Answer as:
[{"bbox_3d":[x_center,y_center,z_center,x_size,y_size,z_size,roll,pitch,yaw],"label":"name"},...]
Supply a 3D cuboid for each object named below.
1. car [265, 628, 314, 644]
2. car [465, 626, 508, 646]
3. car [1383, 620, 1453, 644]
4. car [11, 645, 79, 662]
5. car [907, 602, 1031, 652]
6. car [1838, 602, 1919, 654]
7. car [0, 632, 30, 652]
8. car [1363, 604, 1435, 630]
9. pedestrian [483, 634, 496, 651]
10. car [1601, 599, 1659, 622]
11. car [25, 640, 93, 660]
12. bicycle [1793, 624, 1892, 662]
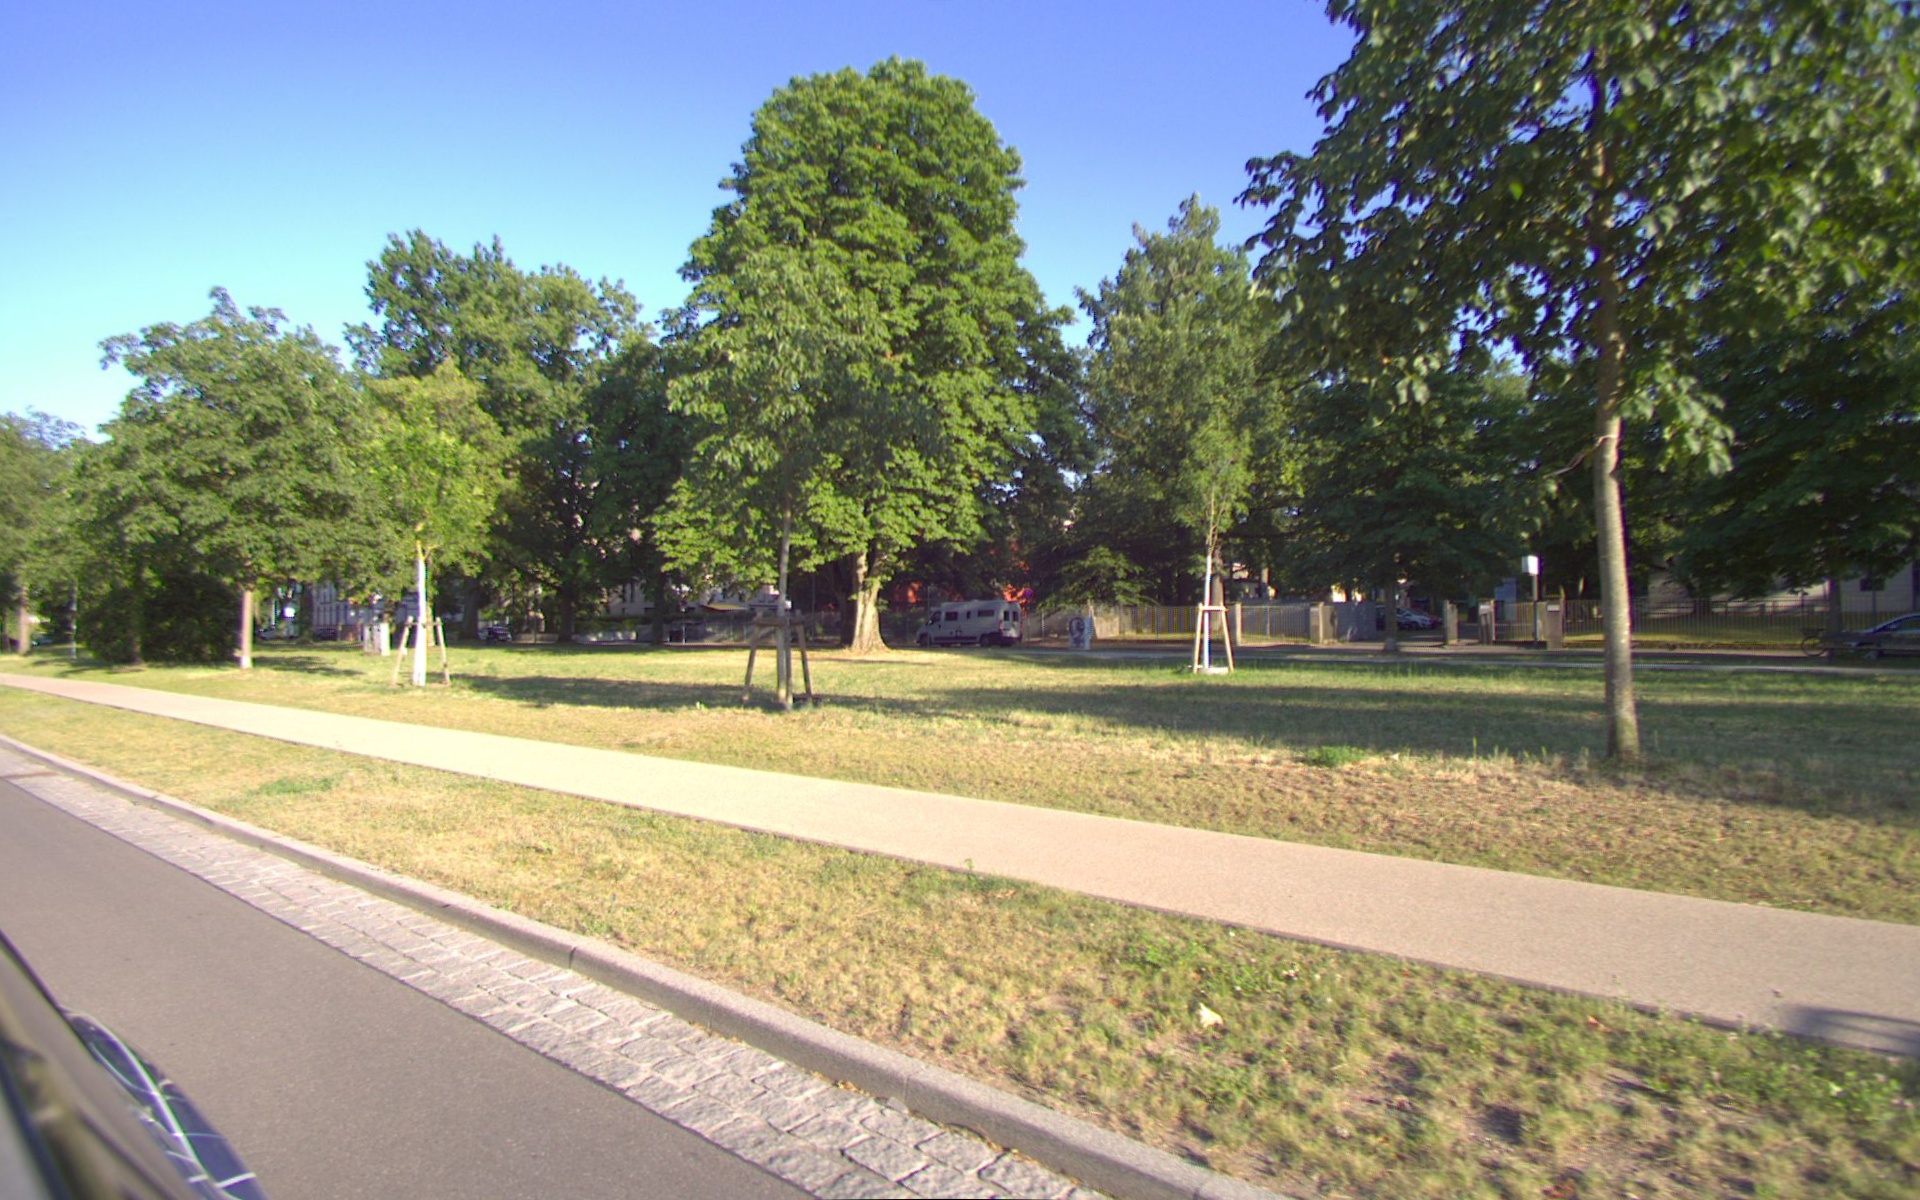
[{"bbox_3d":[-68.340,3.669,103.159,3.684,1.630,2.000,-1,-2,-1],"label":"car"},{"bbox_3d":[-40.830,3.097,87.210,3.734,1.630,1.974,-2,-2,40],"label":"car"},{"bbox_3d":[32.430,2.266,71.769,4.244,1.661,1.610,-2,-3,39],"label":"car"},{"bbox_3d":[-83.114,4.841,91.953,1.824,1.411,4.252,-1,-2,17],"label":"car"},{"bbox_3d":[0.420,1.470,53.721,6.310,2.482,2.694,-2,-3,38],"label":"car"},{"bbox_3d":[28.953,0.854,30.251,3.997,1.519,1.973,-2,-3,40],"label":"car"},{"bbox_3d":[-79.709,3.438,83.485,1.873,1.586,3.981,1,-1,14],"label":"car"},{"bbox_3d":[30.081,1.198,69.458,4.244,1.661,1.610,-2,-3,39],"label":"car"},{"bbox_3d":[-27.153,2.455,58.430,0.541,0.994,0.611,2,-3,-40],"label":"pedestrian"},{"bbox_3d":[63.097,1.030,95.329,4.202,2.074,1.626,0,-2,10],"label":"car"},{"bbox_3d":[-78.484,4.372,88.205,1.876,1.586,3.975,1,-1,18],"label":"car"},{"bbox_3d":[28.515,1.388,32.748,2.329,1.184,0.651,-2,-3,37],"label":"bicycle"}]
